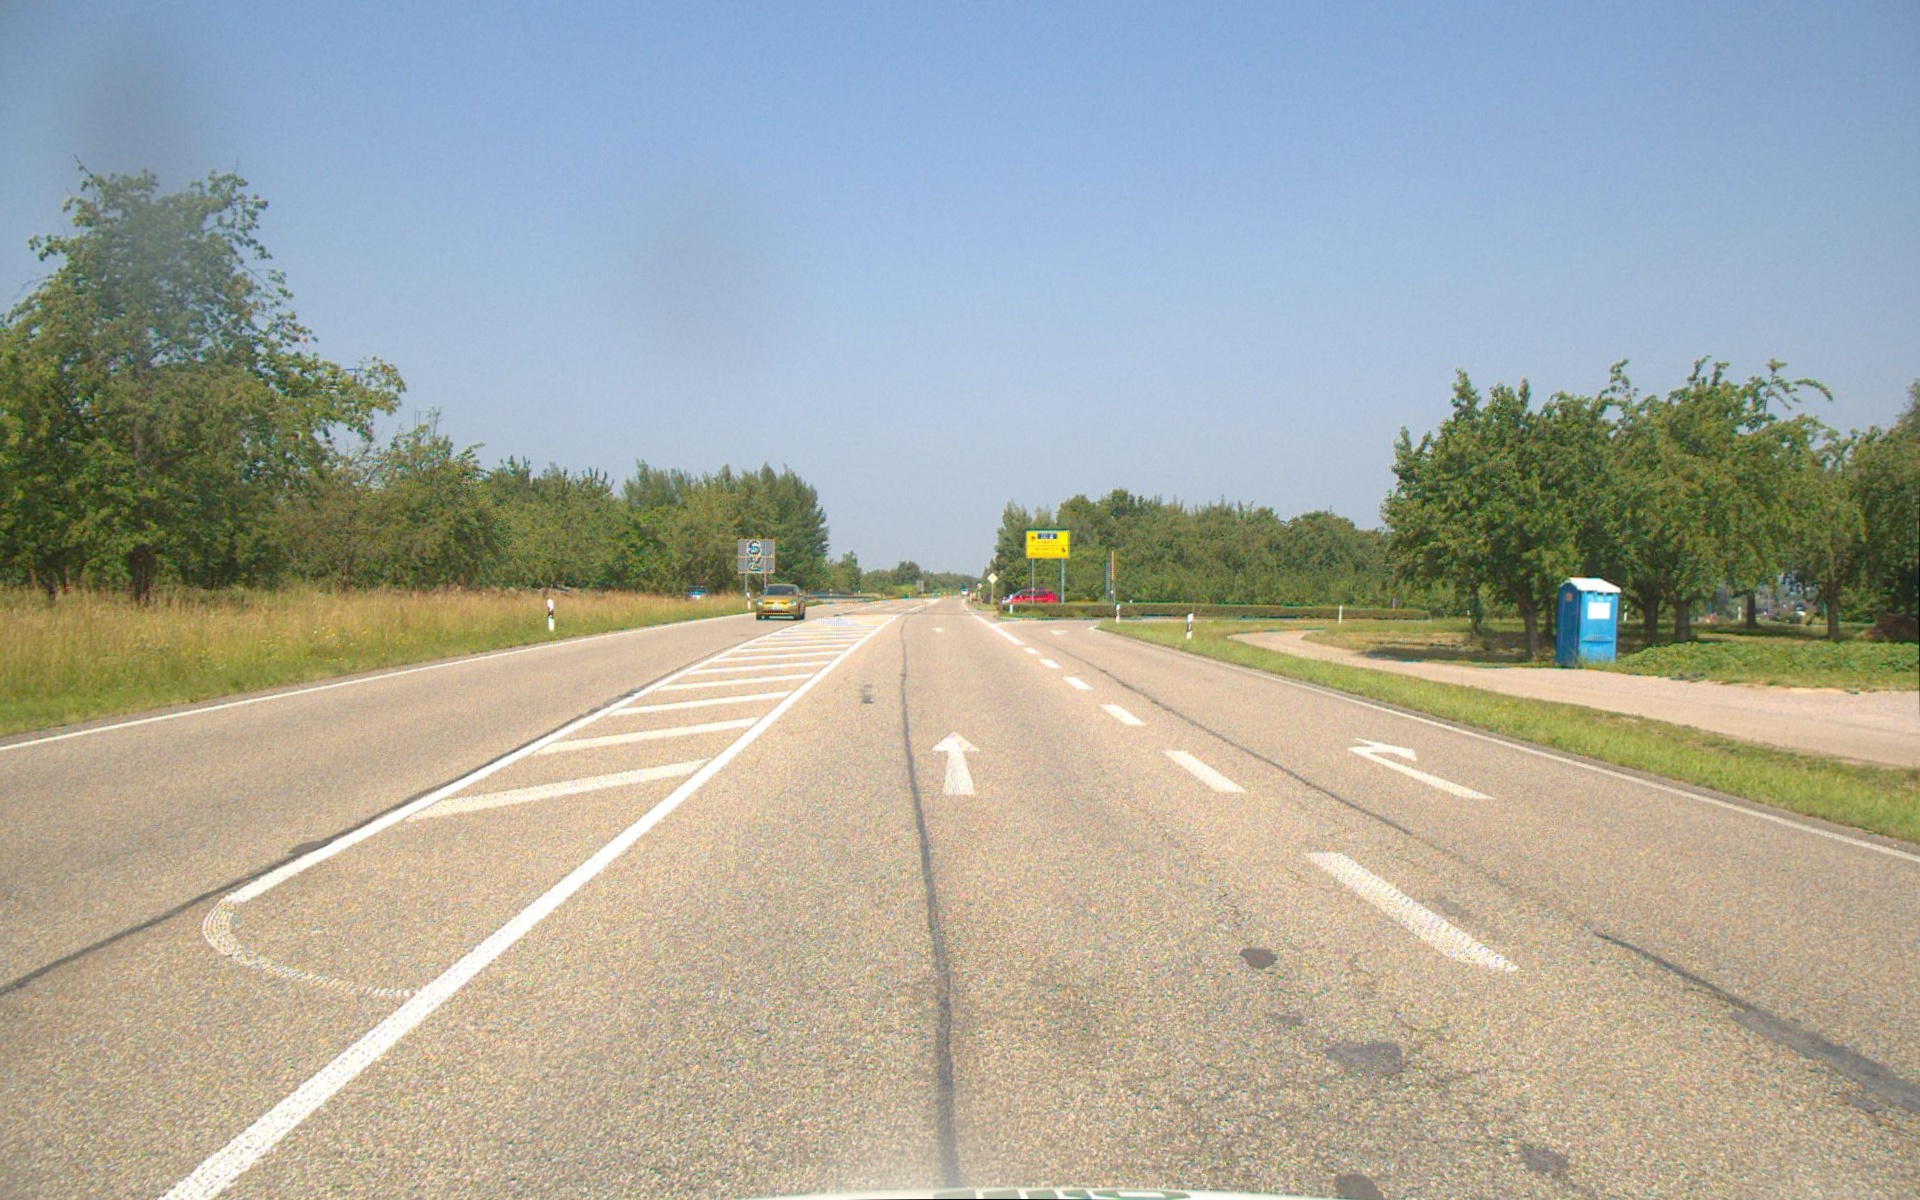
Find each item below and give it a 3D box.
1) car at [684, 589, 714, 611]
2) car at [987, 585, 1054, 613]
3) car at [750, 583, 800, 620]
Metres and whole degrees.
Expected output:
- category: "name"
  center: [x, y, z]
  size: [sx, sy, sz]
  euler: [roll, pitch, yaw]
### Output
- category: "car"
  center: [-17.124, -0.015, 108.748]
  size: [1.671, 1.448, 4.039]
  euler: [0, 0, -5]
- category: "car"
  center: [3.653, -0.056, 99.571]
  size: [3.682, 1.519, 1.663]
  euler: [2, 0, -18]
- category: "car"
  center: [-7.546, 0.057, 67.698]
  size: [1.663, 1.441, 3.824]
  euler: [1, 0, -1]
